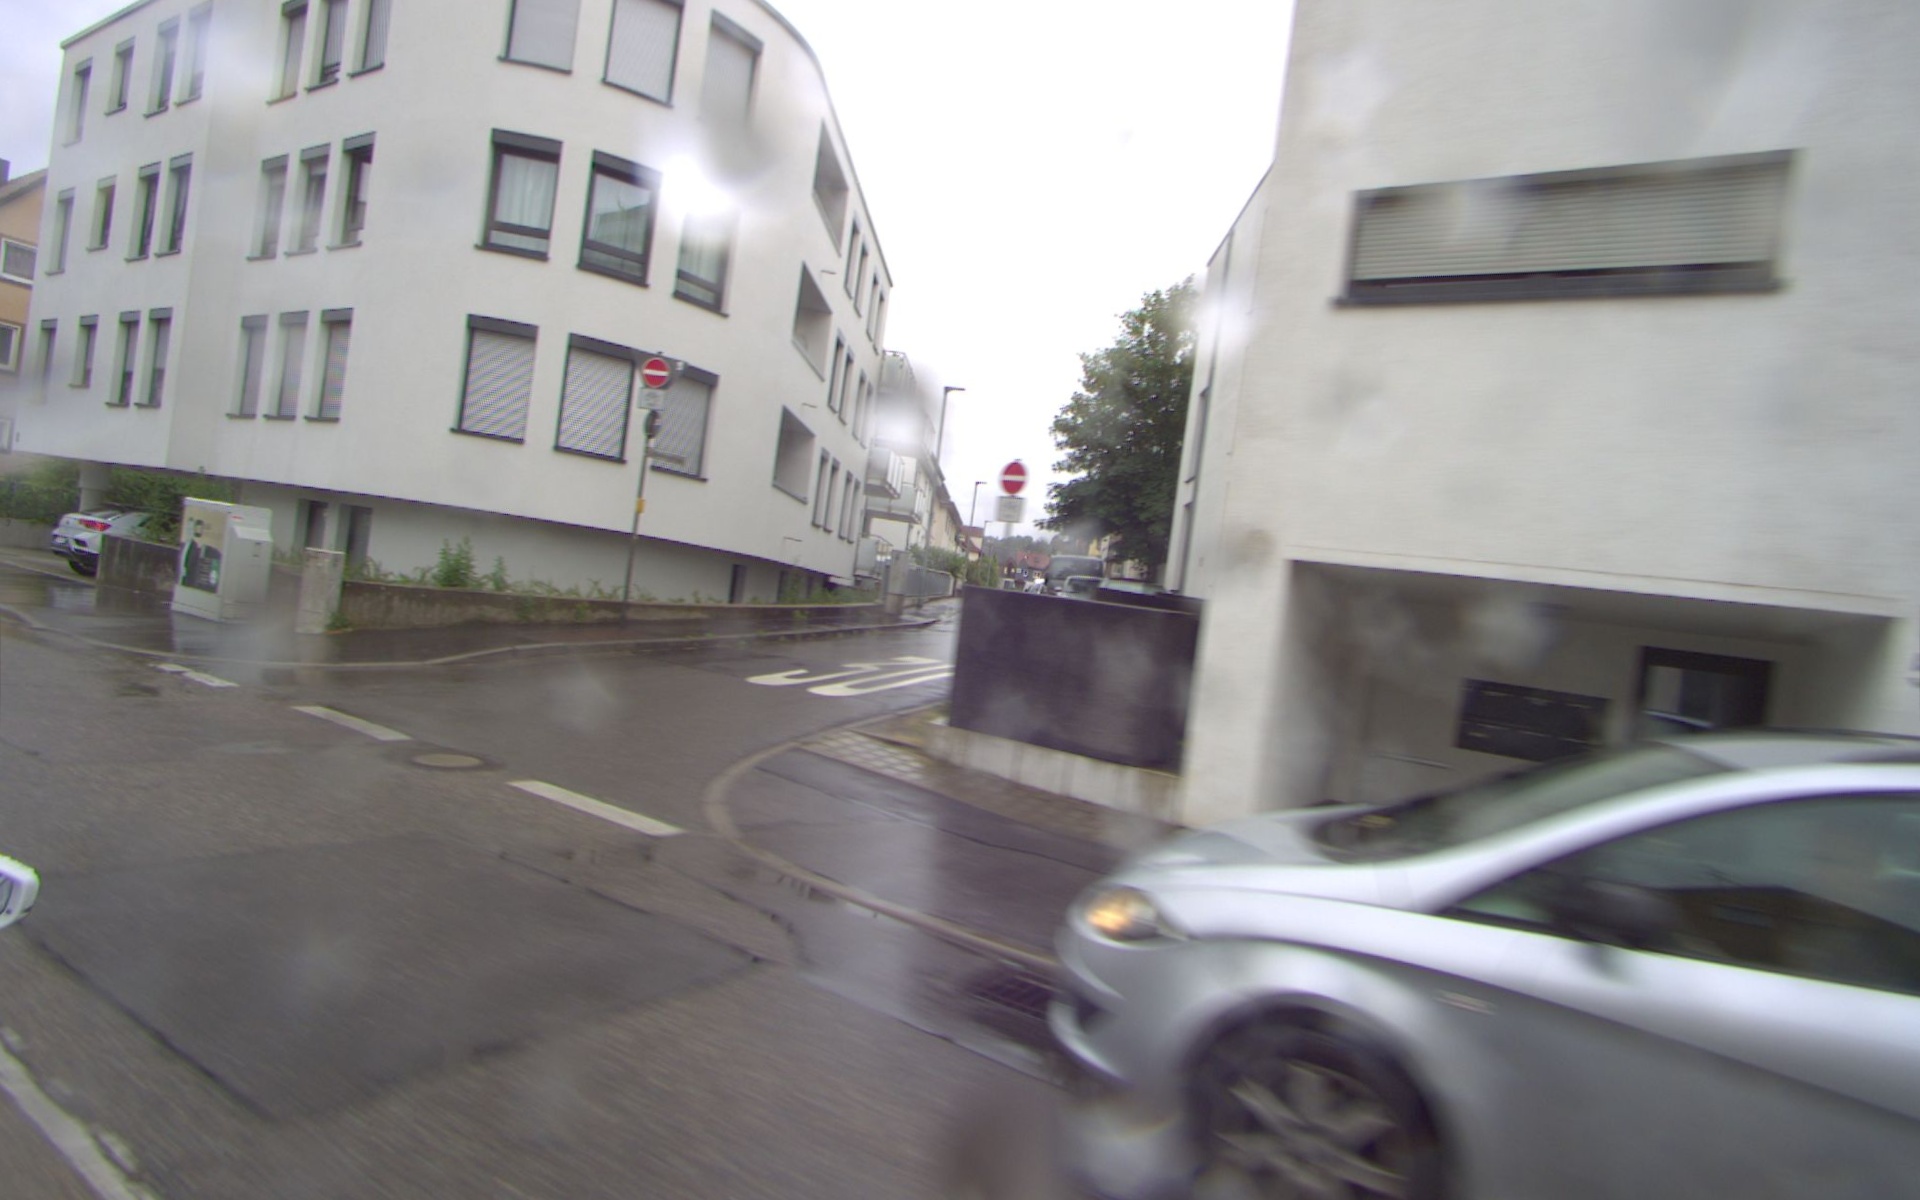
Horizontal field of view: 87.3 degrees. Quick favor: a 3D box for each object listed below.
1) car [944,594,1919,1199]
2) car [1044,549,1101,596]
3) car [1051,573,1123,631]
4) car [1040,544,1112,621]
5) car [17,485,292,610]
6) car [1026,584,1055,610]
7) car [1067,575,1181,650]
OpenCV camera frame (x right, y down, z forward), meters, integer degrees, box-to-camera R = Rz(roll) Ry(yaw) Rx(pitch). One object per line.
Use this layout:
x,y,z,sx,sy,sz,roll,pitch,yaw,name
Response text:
2.368,1.034,2.802,4.287,1.641,2.016,5,-2,30,car
4.226,-1.001,38.433,1.725,1.430,4.001,6,0,2,car
3.388,0.018,27.264,1.715,1.335,3.762,4,2,5,car
3.844,-0.522,33.967,1.904,2.222,3.988,8,0,3,car
-16.210,-0.992,20.463,1.789,1.544,3.809,8,-6,31,car
5.052,-0.178,63.678,1.528,1.430,3.649,6,0,2,car
3.414,0.203,21.589,1.743,1.335,3.833,4,2,0,car
